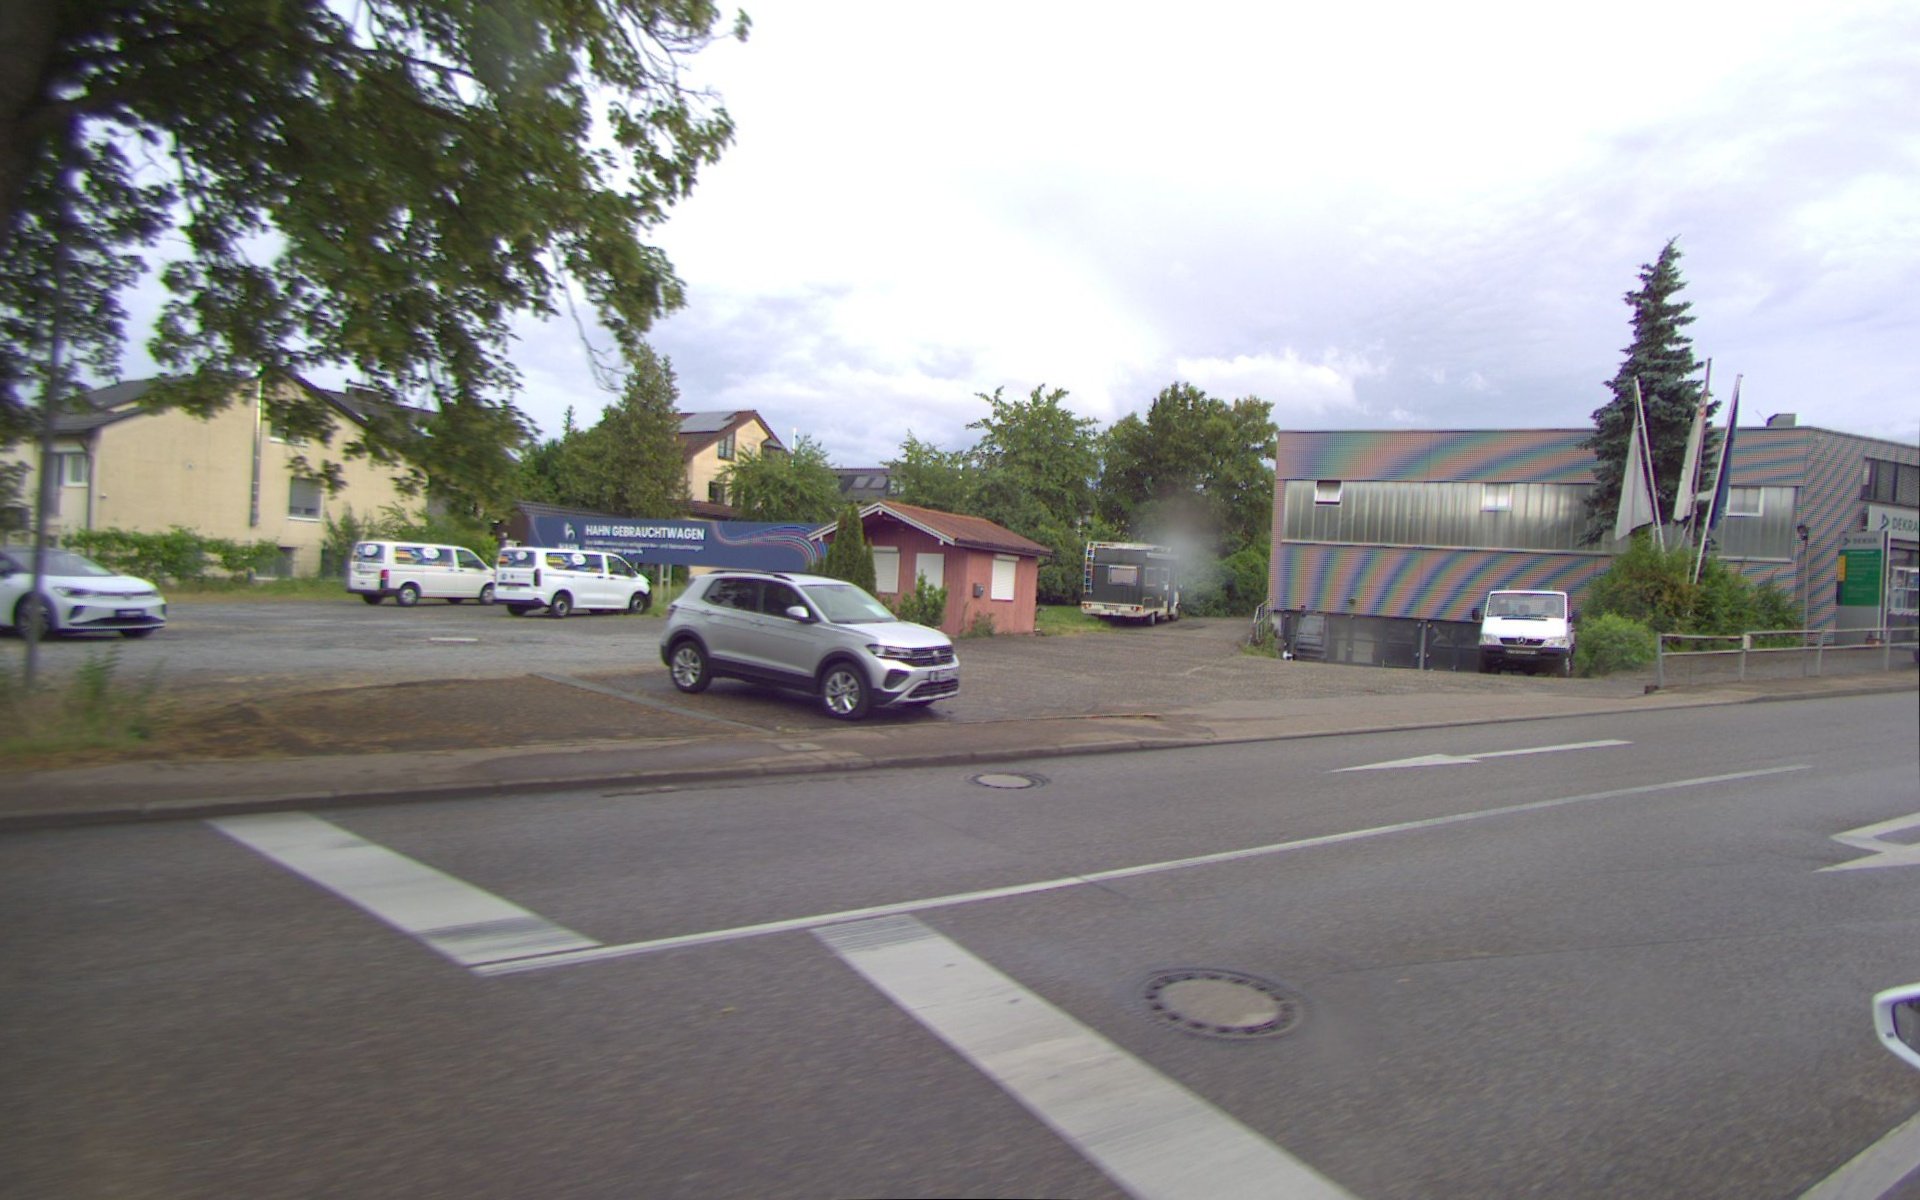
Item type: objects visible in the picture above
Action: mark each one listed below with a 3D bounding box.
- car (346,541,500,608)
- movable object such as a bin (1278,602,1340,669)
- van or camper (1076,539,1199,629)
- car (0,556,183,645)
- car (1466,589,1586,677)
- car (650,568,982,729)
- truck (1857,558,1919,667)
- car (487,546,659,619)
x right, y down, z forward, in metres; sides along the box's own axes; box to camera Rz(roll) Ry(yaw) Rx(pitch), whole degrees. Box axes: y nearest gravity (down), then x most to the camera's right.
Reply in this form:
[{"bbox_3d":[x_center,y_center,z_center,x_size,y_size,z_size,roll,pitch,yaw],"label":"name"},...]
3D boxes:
[{"bbox_3d":[-17.372,-0.806,32.740,1.692,2.014,4.270,2,1,24],"label":"car"},{"bbox_3d":[12.138,1.159,34.819,1.632,2.041,3.996,2,2,24],"label":"movable object such as a bin"},{"bbox_3d":[7.106,-0.727,39.141,2.431,2.934,8.108,7,5,25],"label":"van or camper"},{"bbox_3d":[-16.318,-0.041,17.798,3.928,1.434,1.830,2,1,9],"label":"car"},{"bbox_3d":[14.064,0.713,24.846,2.031,1.896,4.266,2,2,36],"label":"car"},{"bbox_3d":[-1.880,0.484,12.716,3.938,1.591,1.717,4,3,31],"label":"car"},{"bbox_3d":[26.906,0.242,26.333,7.781,2.668,1.988,-1,2,-24],"label":"truck"},{"bbox_3d":[-11.594,-0.517,30.457,1.924,2.014,4.867,2,1,25],"label":"car"}]
